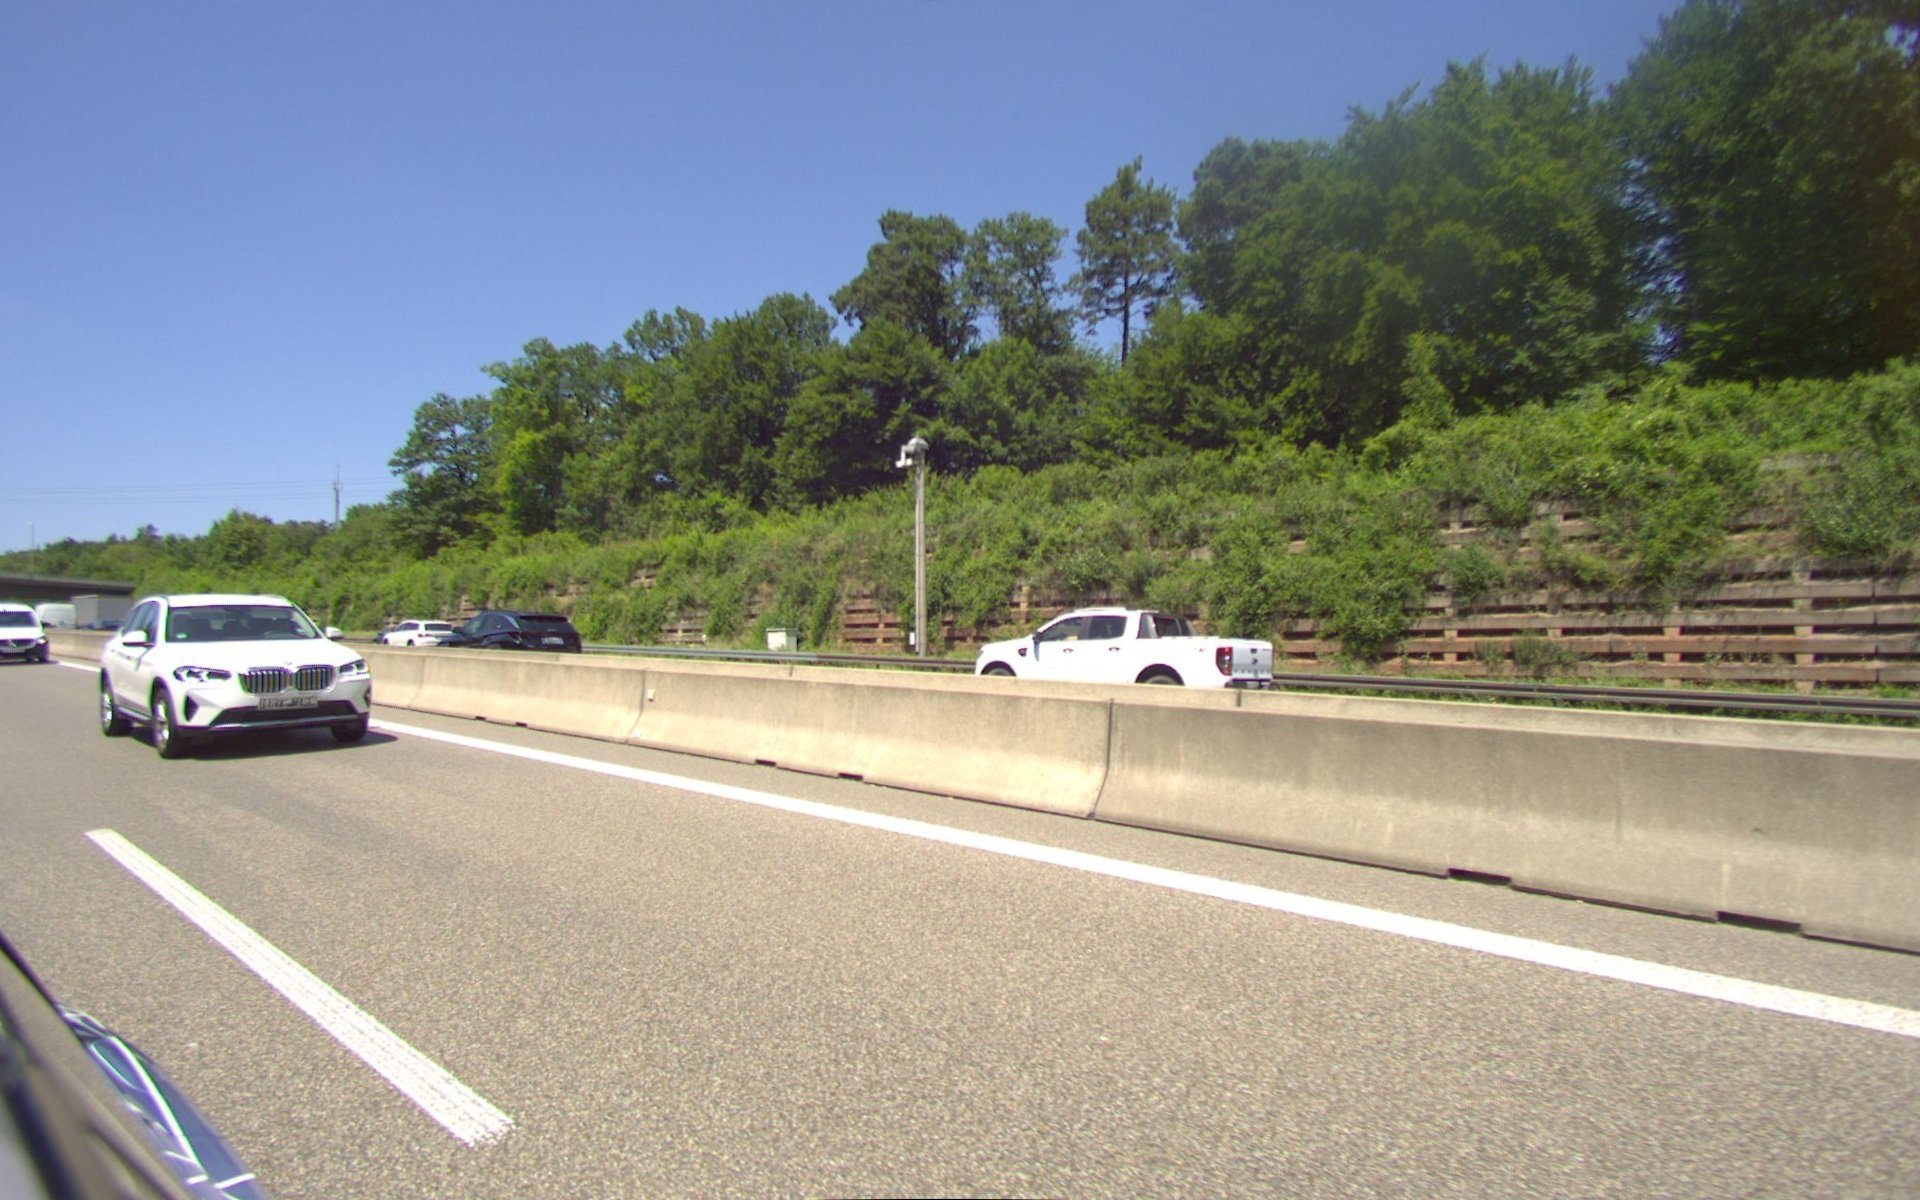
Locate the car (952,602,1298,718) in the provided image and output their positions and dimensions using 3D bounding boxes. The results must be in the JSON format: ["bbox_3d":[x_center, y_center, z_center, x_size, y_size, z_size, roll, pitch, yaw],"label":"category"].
[{"bbox_3d":[2.590,0.940,17.057,5.646,1.650,1.863,-1,-3,41],"label":"car"}]

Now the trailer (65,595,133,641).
[{"bbox_3d":[-82.851,1.692,97.238,14.177,4.217,2.904,-1,0,41],"label":"trailer"}]

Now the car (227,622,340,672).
[{"bbox_3d":[-23.608,1.616,35.219,5.223,1.617,1.919,-1,-3,41],"label":"car"}]

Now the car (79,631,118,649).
[{"bbox_3d":[-66.570,3.094,78.174,4.102,1.297,1.625,-1,-3,41],"label":"car"}]

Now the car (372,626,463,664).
[{"bbox_3d":[-24.020,1.963,44.760,4.857,1.617,1.919,-1,-3,41],"label":"car"}]

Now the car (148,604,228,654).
[{"bbox_3d":[-44.815,1.687,58.651,7.134,2.704,2.216,-1,-3,41],"label":"car"}]

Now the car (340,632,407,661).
[{"bbox_3d":[-33.549,2.643,57.862,4.462,1.617,1.919,-1,-3,41],"label":"car"}]

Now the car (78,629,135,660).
[{"bbox_3d":[-46.733,2.425,55.386,4.279,1.617,1.714,-1,-3,41],"label":"car"}]

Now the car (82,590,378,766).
[{"bbox_3d":[-8.525,0.770,11.669,4.366,1.656,1.826,-1,-1,41],"label":"car"}]

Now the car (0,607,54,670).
[{"bbox_3d":[-28.888,1.125,30.468,4.501,1.788,1.972,-1,0,43],"label":"car"}]

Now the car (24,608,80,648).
[{"bbox_3d":[-64.332,2.003,71.639,5.338,2.704,2.216,-1,-3,41],"label":"car"}]

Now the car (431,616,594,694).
[{"bbox_3d":[-10.367,1.225,23.308,4.301,1.650,1.735,-1,-3,41],"label":"car"}]
